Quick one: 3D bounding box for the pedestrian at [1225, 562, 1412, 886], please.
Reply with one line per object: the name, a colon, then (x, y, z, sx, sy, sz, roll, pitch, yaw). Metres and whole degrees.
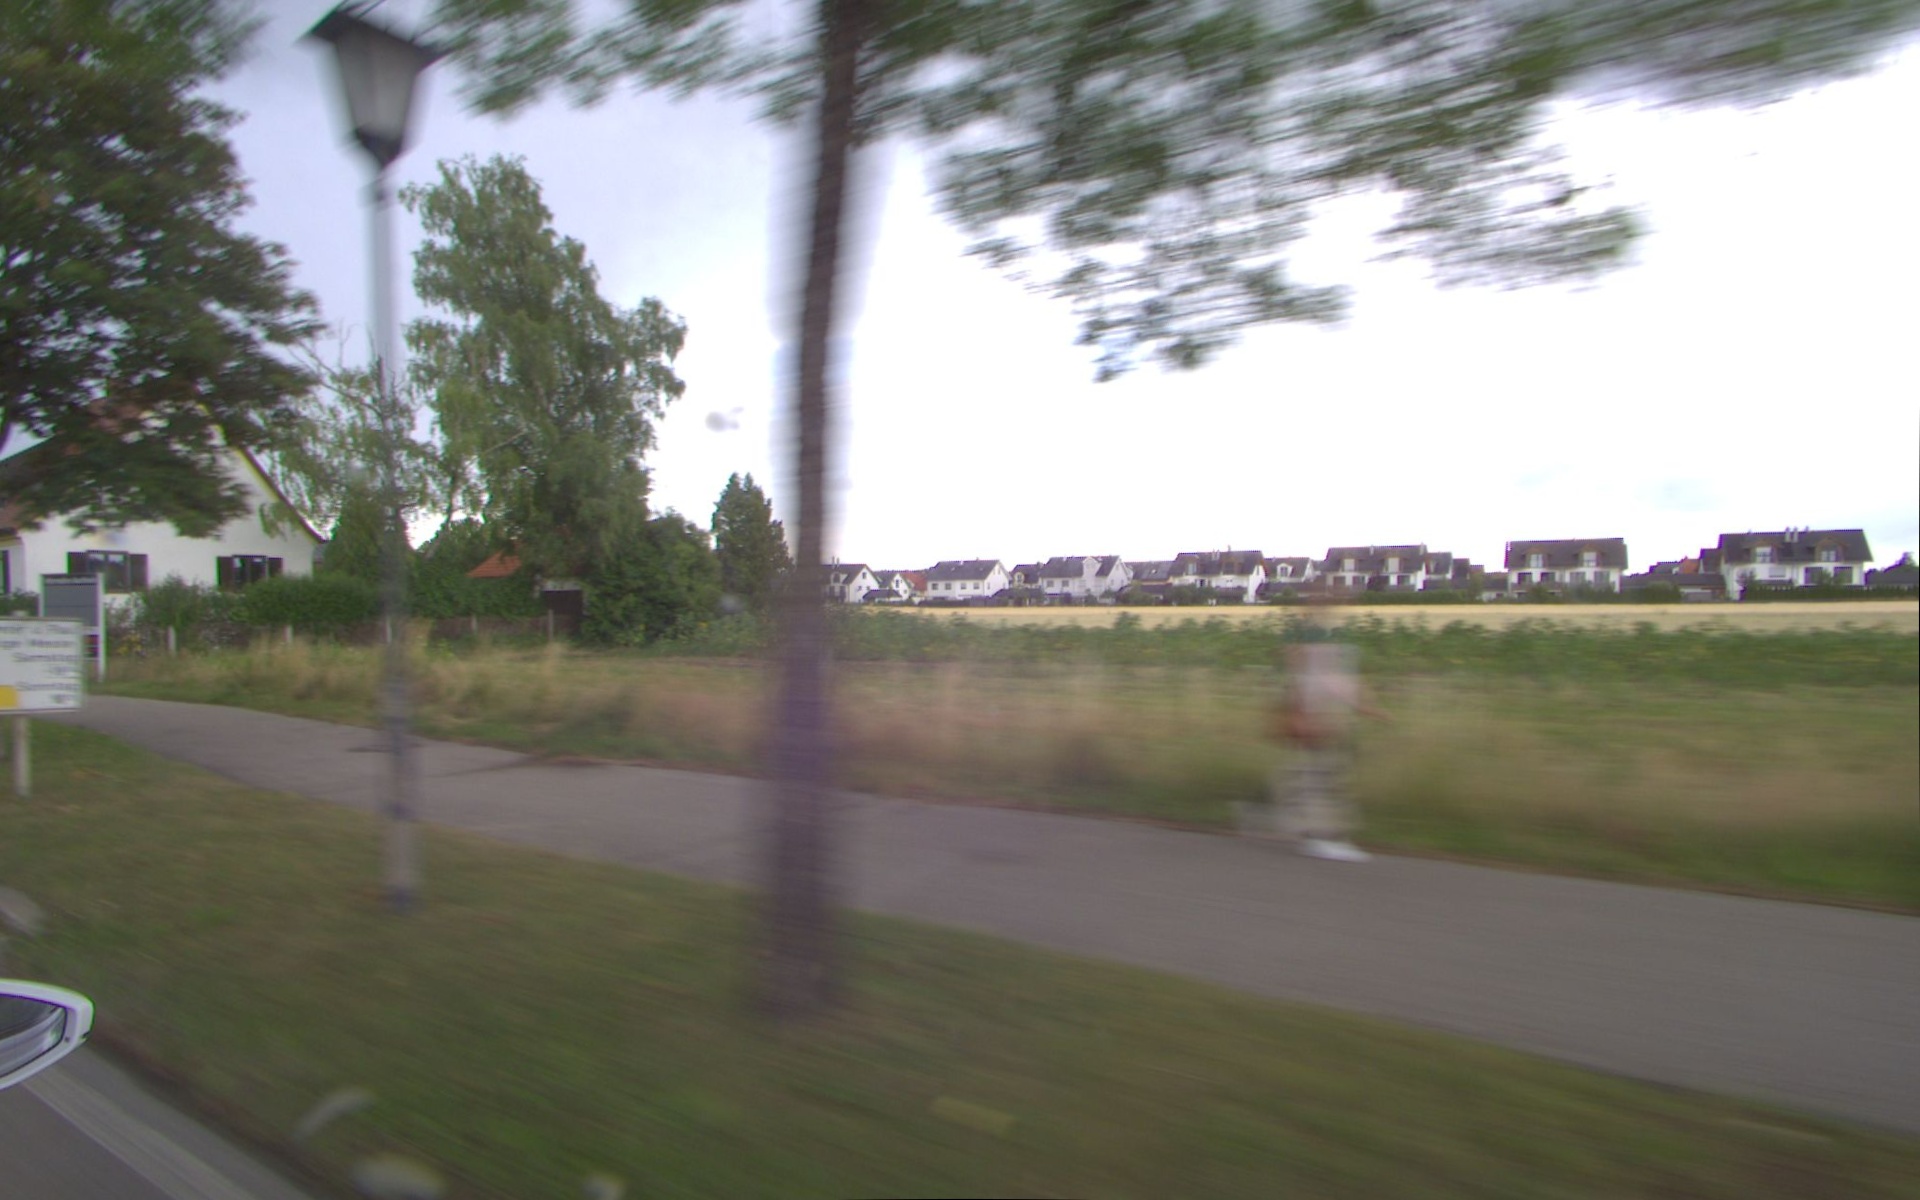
pedestrian: (2.190, 0.693, 6.101, 0.859, 1.778, 0.834, 0, 0, 38)
